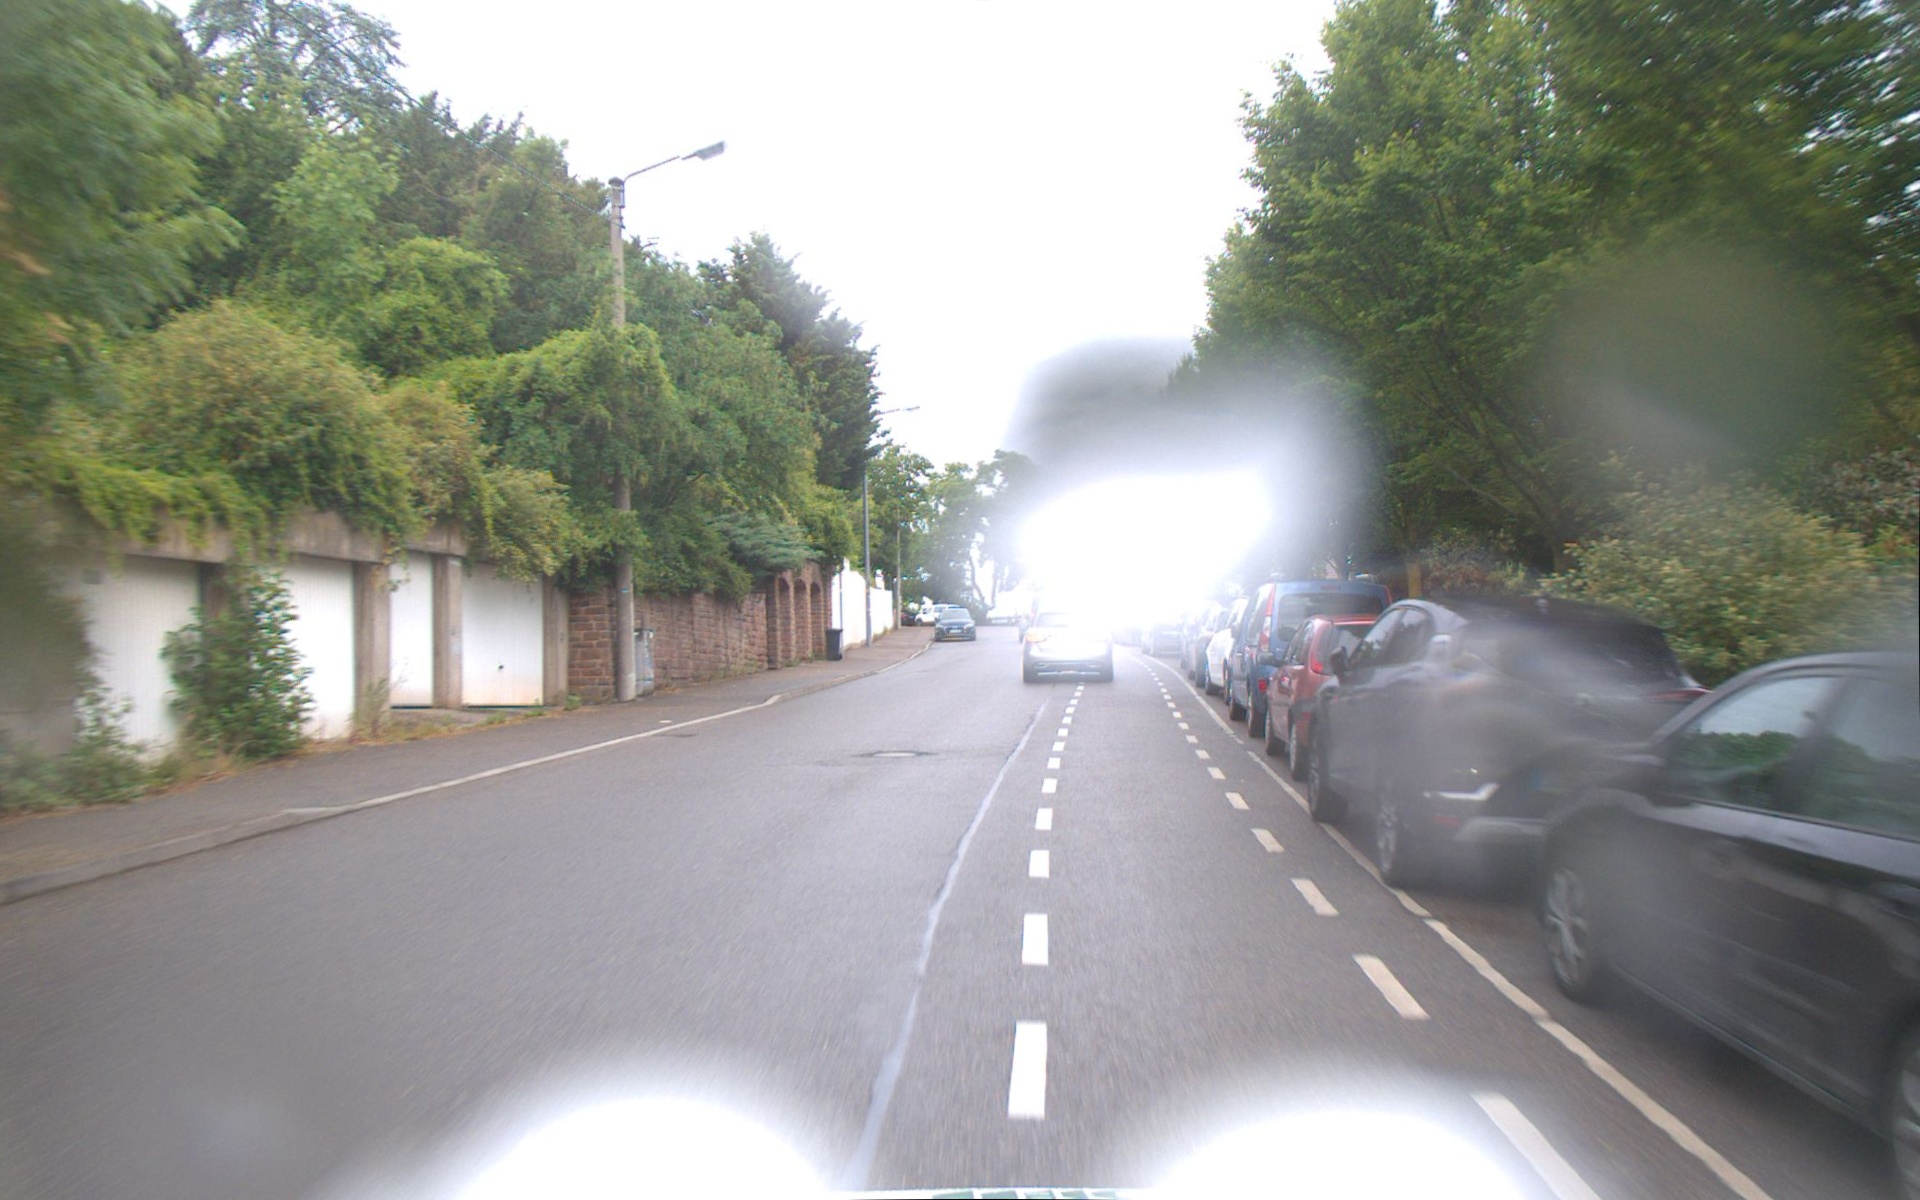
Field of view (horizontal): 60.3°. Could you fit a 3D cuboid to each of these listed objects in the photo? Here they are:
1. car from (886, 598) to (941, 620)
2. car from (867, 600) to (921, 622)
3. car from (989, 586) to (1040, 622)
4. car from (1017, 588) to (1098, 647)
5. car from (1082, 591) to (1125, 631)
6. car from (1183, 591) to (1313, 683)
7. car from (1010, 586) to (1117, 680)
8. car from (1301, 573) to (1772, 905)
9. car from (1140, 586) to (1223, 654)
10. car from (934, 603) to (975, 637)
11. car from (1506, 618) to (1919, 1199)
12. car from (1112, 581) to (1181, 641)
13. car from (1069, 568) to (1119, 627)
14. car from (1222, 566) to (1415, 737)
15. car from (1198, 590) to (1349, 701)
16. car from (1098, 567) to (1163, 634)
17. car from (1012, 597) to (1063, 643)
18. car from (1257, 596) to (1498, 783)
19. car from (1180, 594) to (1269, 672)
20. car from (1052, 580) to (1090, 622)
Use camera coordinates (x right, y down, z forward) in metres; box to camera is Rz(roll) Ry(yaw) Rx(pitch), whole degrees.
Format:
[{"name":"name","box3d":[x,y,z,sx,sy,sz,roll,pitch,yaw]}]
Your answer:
[{"name":"car","box3d":[-3.907,0.730,137.932,4.416,1.727,1.959,1,0,42]},{"name":"car","box3d":[-5.570,0.936,139.639,1.956,1.727,4.593,1,0,-44]},{"name":"car","box3d":[4.109,0.281,125.765,2.097,2.571,4.463,1,0,-24]},{"name":"car","box3d":[2.961,0.561,51.236,1.954,1.738,3.996,1,-1,-5]},{"name":"car","box3d":[6.944,0.531,80.441,1.692,1.816,4.276,3,0,1]},{"name":"car","box3d":[5.297,0.645,30.991,1.951,1.564,4.852,1,0,5]},{"name":"car","box3d":[2.046,0.627,33.002,1.983,1.738,4.217,-1,0,3]},{"name":"car","box3d":[3.284,0.688,10.290,1.678,1.583,4.166,2,0,4]},{"name":"car","box3d":[6.206,0.542,46.806,1.743,1.814,4.679,0,0,0]},{"name":"car","box3d":[-0.247,0.855,73.434,1.713,1.381,4.425,-2,0,0]},{"name":"car","box3d":[3.163,0.815,5.104,1.609,1.449,4.288,2,0,2]},{"name":"car","box3d":[6.680,0.390,59.792,1.952,2.088,5.121,0,0,1]},{"name":"car","box3d":[6.975,-0.131,86.881,2.081,2.937,5.769,1,0,0]},{"name":"car","box3d":[4.360,0.563,20.715,1.741,1.884,4.427,1,0,4]},{"name":"car","box3d":[4.929,0.669,26.507,1.746,1.637,4.225,0,0,2]},{"name":"car","box3d":[6.913,0.016,67.660,2.129,2.536,6.034,2,0,1]},{"name":"car","box3d":[3.085,0.805,65.845,1.952,1.738,4.001,1,-1,2]},{"name":"car","box3d":[3.788,0.740,15.614,1.614,1.507,4.022,1,0,6]},{"name":"car","box3d":[5.748,0.686,36.306,1.657,1.598,3.925,0,0,5]},{"name":"car","box3d":[6.869,0.062,102.626,2.021,2.538,4.760,1,0,1]}]
